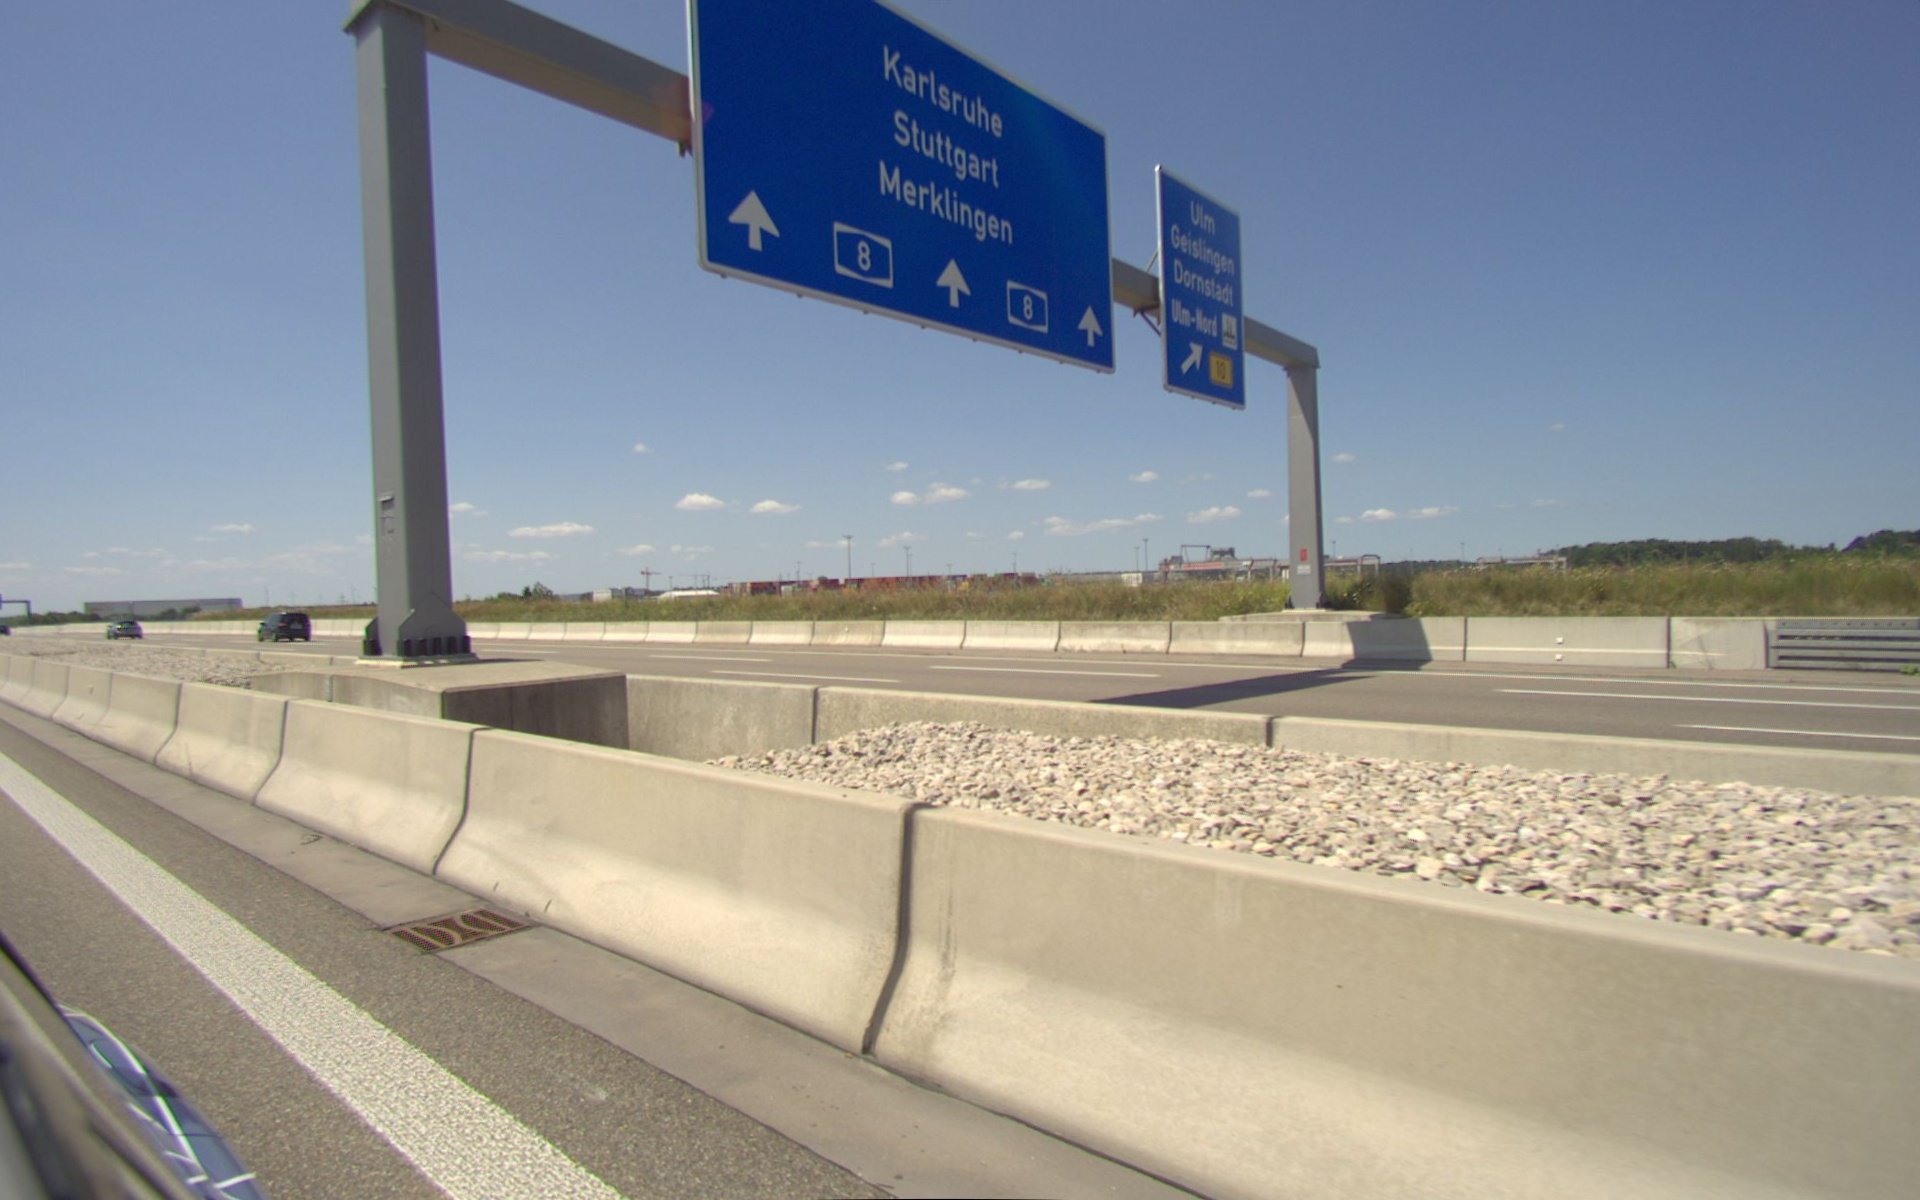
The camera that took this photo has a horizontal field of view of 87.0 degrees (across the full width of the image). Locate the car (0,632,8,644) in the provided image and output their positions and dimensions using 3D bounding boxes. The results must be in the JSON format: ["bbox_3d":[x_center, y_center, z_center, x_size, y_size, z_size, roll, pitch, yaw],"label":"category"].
[{"bbox_3d":[-120.698,4.754,126.635,4.362,1.389,1.972,-2,0,42],"label":"car"}]

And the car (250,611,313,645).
[{"bbox_3d":[-39.636,1.613,59.068,4.918,1.837,1.827,-1,0,41],"label":"car"}]

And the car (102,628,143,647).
[{"bbox_3d":[-64.017,2.811,77.295,3.985,1.339,1.870,-1,0,42],"label":"car"}]
